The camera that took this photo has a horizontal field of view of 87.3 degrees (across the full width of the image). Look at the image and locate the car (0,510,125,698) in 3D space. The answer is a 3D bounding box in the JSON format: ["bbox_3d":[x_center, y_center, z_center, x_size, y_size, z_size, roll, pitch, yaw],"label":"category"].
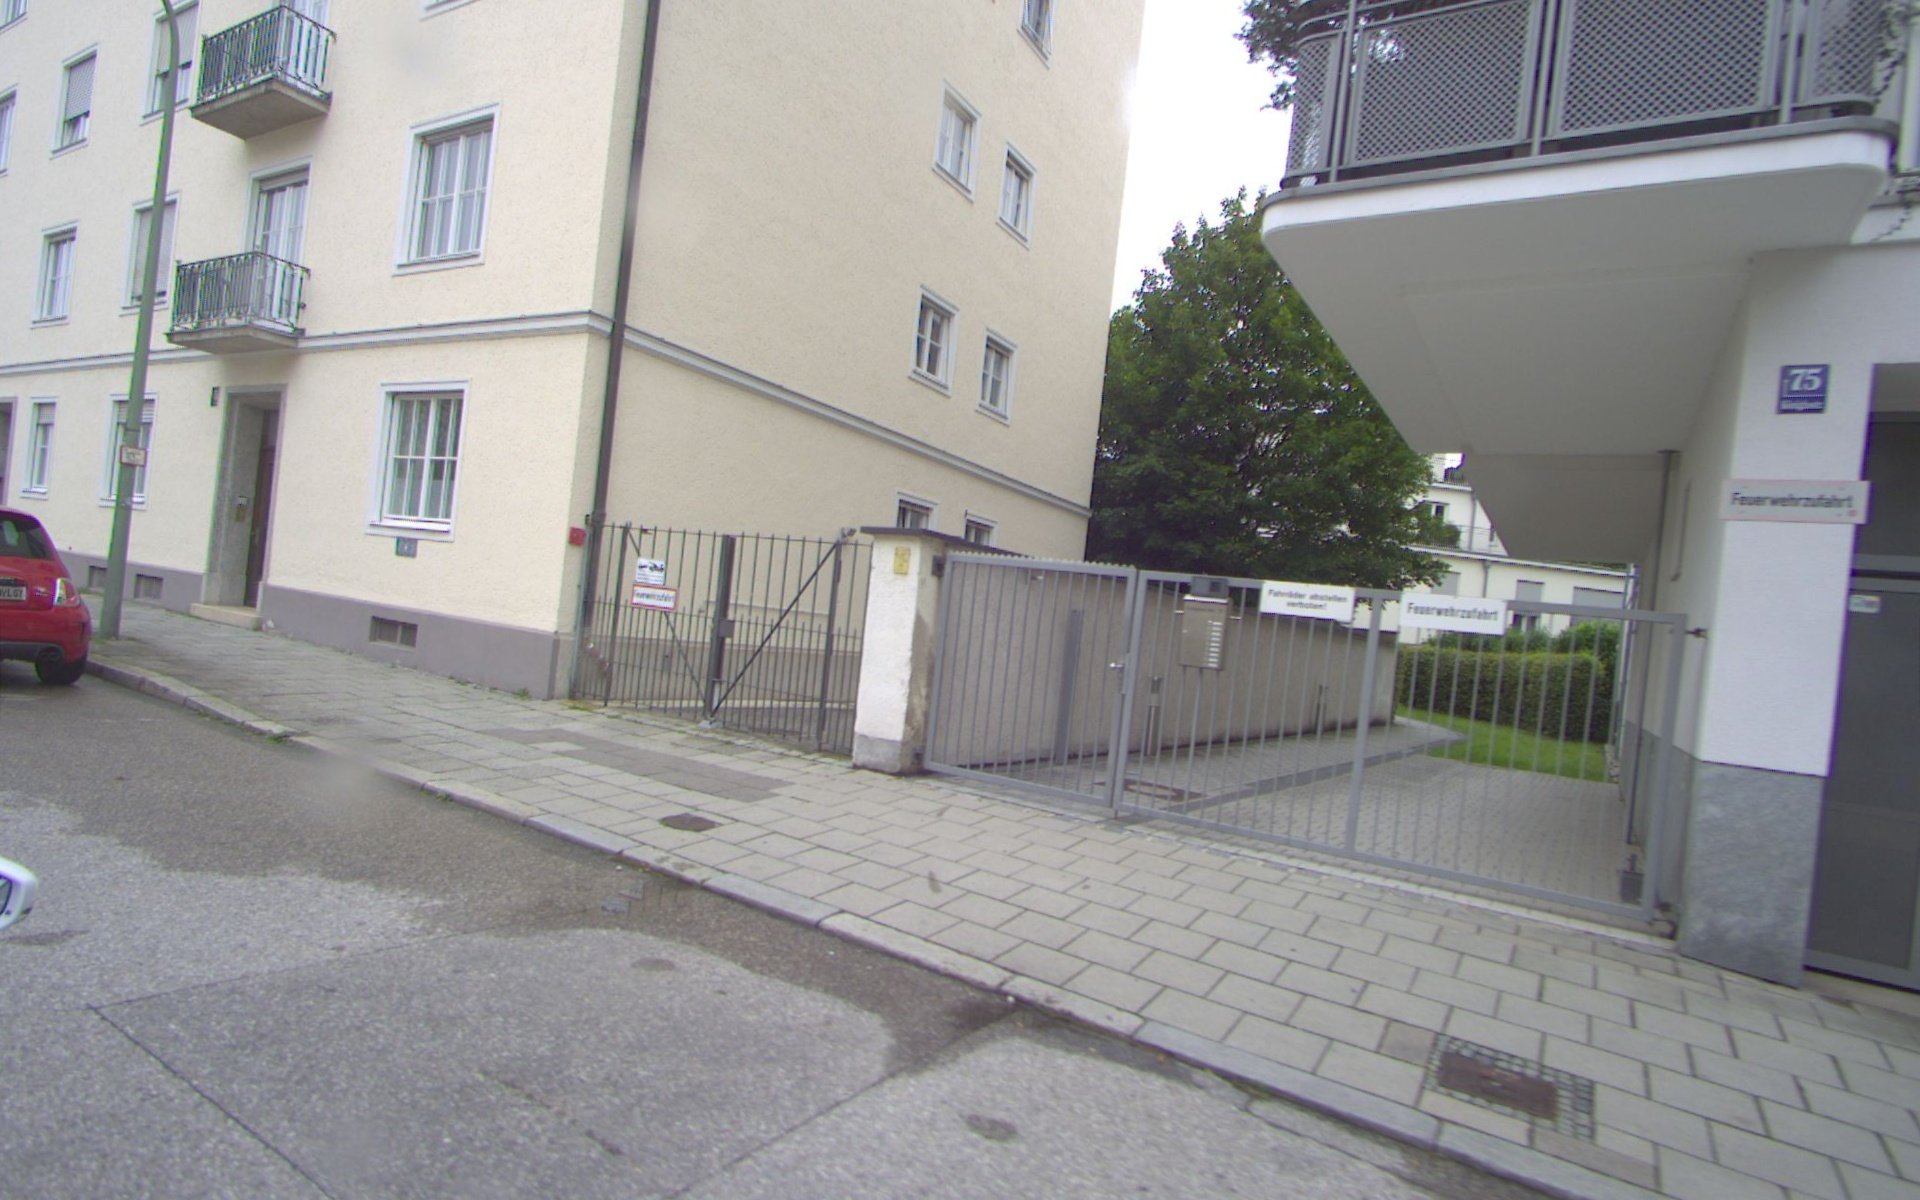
[{"bbox_3d":[-9.273,-0.159,8.884,3.693,1.446,1.658,7,-2,31],"label":"car"}]
